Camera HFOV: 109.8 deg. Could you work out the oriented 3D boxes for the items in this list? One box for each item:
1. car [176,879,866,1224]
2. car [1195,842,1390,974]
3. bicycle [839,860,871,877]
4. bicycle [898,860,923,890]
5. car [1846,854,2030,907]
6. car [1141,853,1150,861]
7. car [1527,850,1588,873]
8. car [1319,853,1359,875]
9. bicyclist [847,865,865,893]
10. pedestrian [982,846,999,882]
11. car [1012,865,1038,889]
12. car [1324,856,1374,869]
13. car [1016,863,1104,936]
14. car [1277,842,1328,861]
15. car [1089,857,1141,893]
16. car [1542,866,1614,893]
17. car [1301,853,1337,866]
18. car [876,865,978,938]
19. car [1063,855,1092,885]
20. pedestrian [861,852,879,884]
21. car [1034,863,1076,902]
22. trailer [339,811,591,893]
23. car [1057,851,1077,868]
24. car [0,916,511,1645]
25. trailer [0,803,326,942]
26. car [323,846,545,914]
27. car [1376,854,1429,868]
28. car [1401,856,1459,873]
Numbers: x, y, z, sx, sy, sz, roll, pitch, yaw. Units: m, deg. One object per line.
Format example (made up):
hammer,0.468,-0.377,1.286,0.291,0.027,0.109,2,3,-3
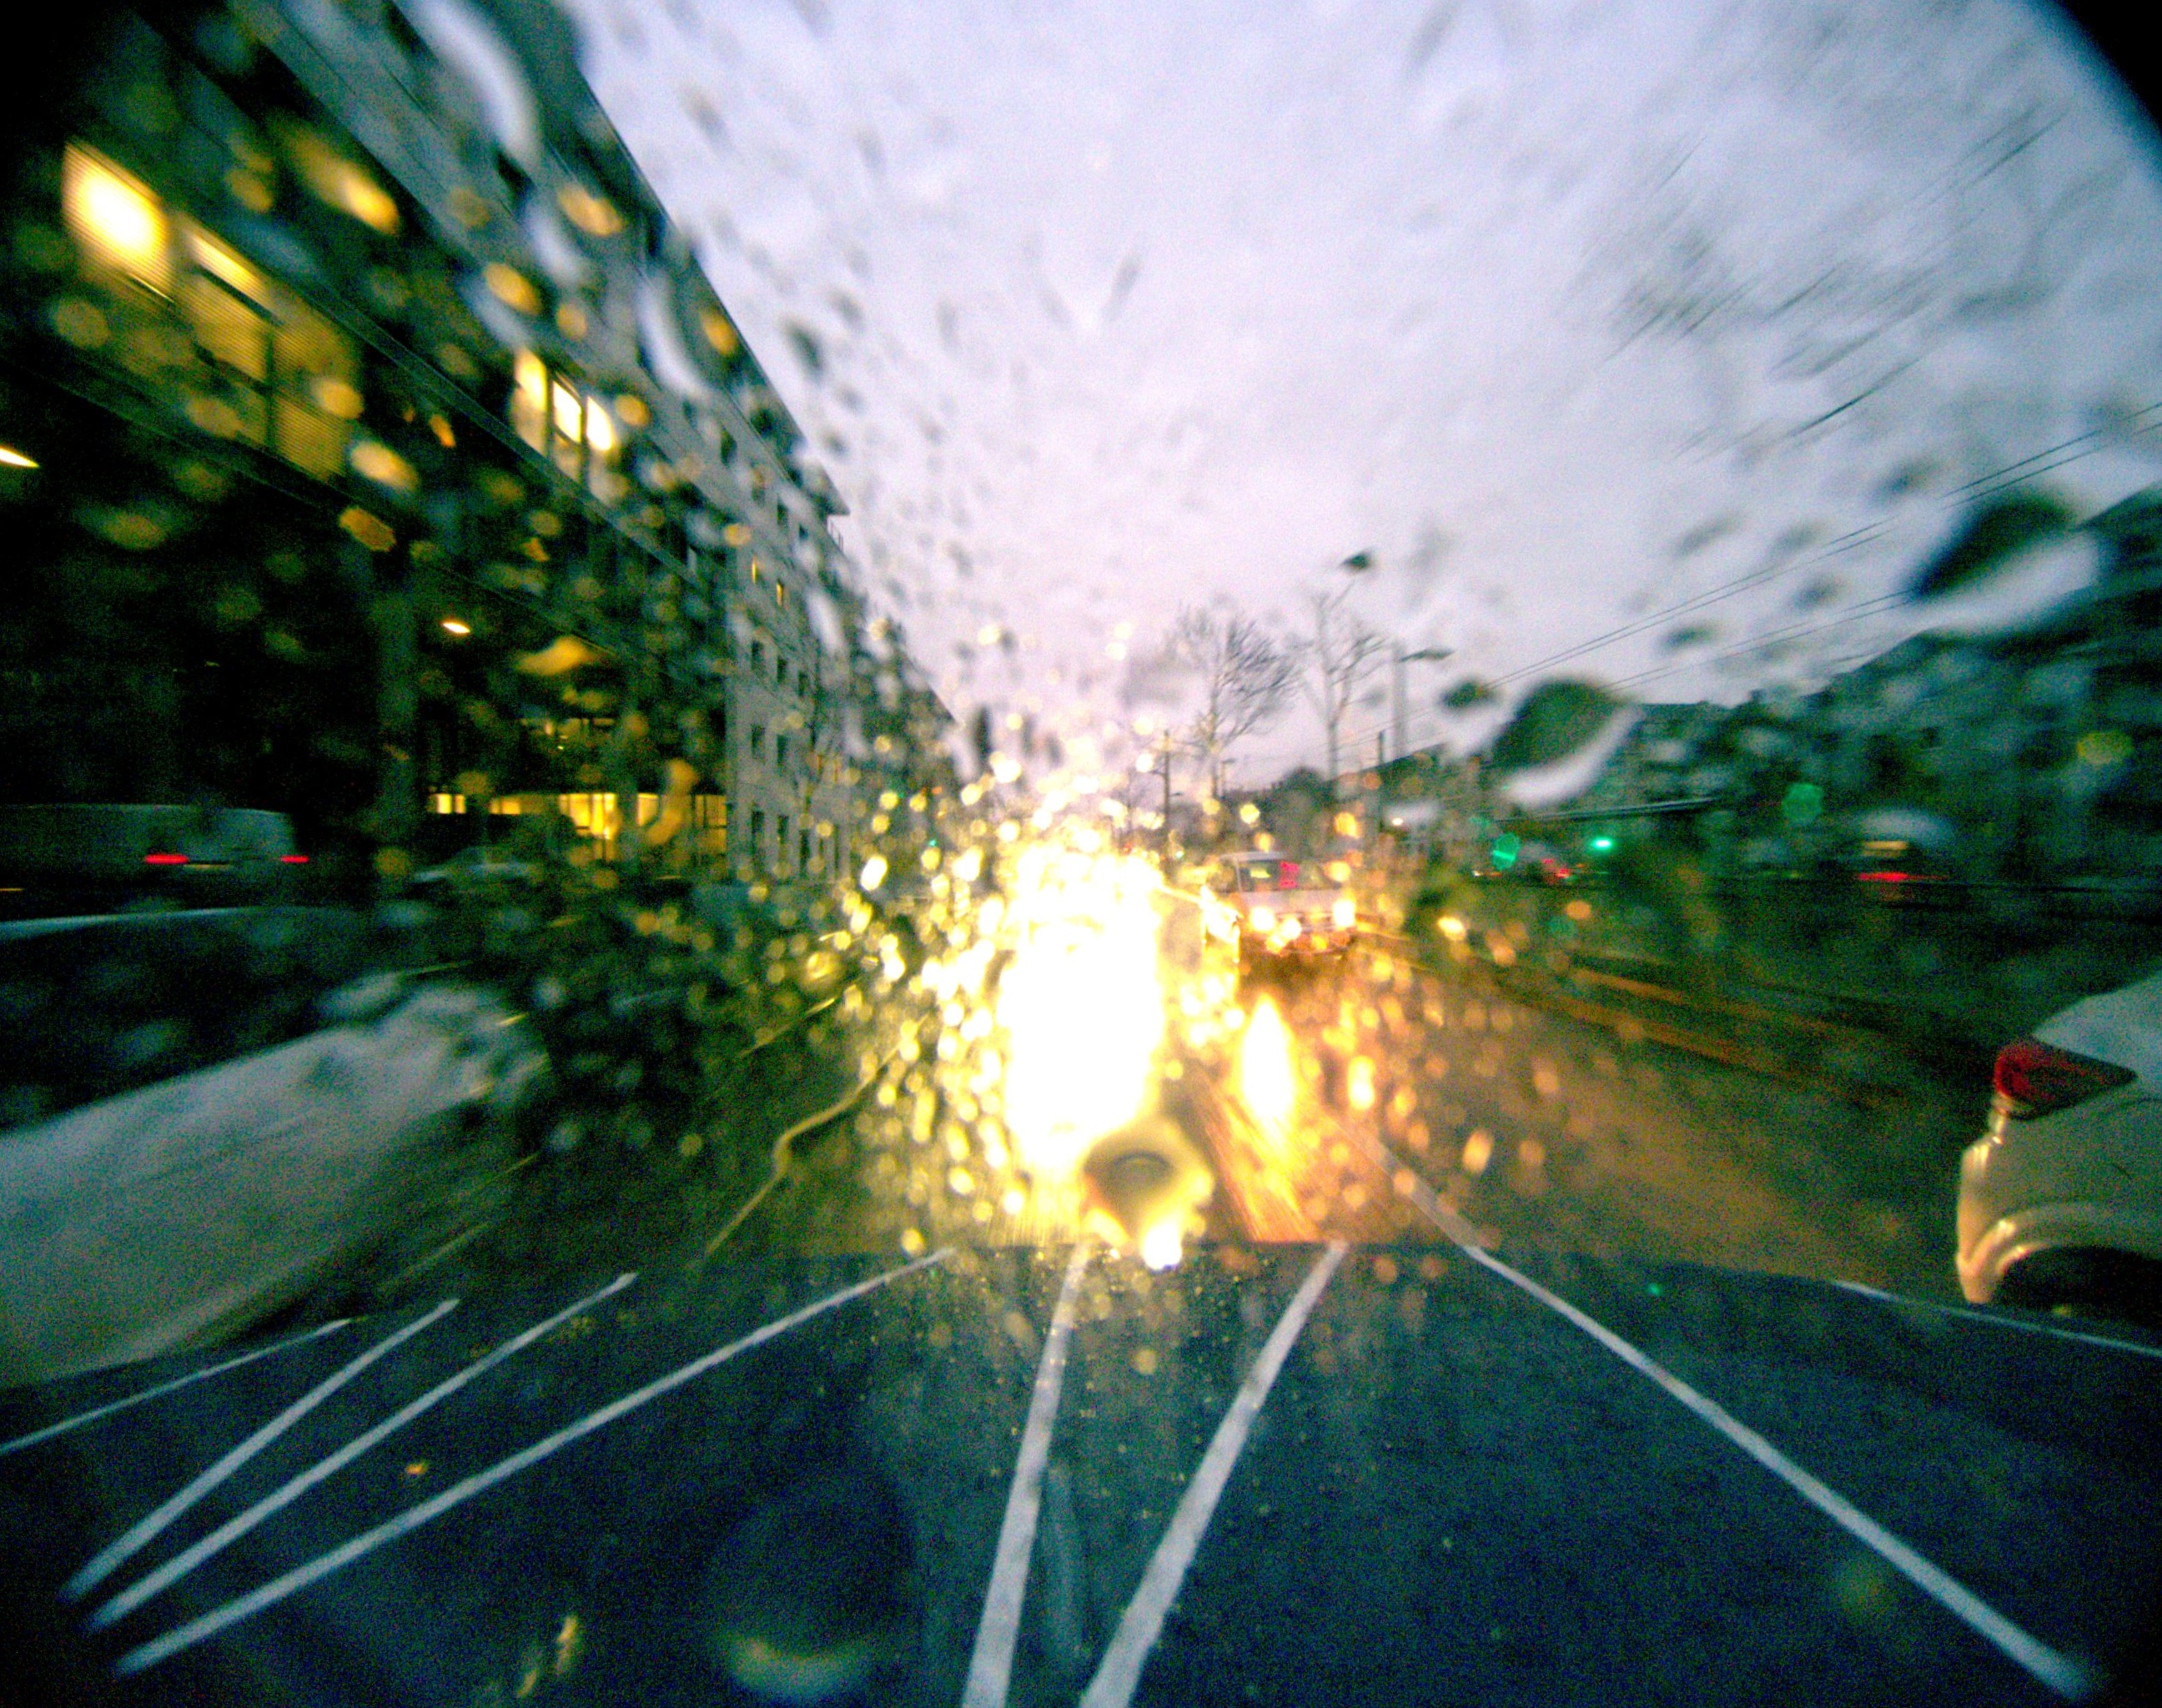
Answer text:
car,-3.125,0.963,5.536,1.758,1.394,4.250,-2,0,2
car,3.066,0.677,11.927,2.021,1.667,4.000,-2,1,2
bicycle,-14.614,0.943,49.172,1.864,1.084,0.856,-2,-2,22
bicycle,-6.752,0.825,30.221,0.552,1.109,2.165,1,1,-2
car,25.044,0.716,22.385,1.590,1.350,3.374,-2,1,-1
car,18.668,0.863,220.055,1.999,2.002,3.998,-2,1,-4
car,32.112,0.485,51.336,1.520,1.360,3.998,-2,1,-2
car,19.837,0.730,58.535,1.527,1.630,3.747,-1,1,-6
bicyclist,-14.564,1.621,49.120,0.730,1.811,0.842,-1,-2,21
pedestrian,-4.637,0.514,38.997,0.773,1.798,0.699,3,1,-5
car,-4.295,1.742,58.715,1.610,1.666,3.685,-2,1,1
car,25.898,0.817,73.482,4.393,1.125,1.250,0,2,32
car,-0.449,0.953,17.445,1.757,1.418,3.804,-2,0,-1
car,28.507,-0.313,97.815,5.893,2.242,1.825,-1,1,32
car,1.486,0.906,35.008,1.976,1.492,4.090,-2,0,-3
car,19.642,0.980,30.111,1.147,0.932,2.491,-1,1,-2
car,26.851,0.599,85.750,3.599,1.376,1.316,-1,-1,30
car,-3.479,1.019,17.905,1.600,1.432,4.228,3,-1,-2
car,-0.249,1.004,49.341,1.730,1.730,4.053,-2,1,-1
pedestrian,-11.738,0.754,42.294,0.739,1.726,0.702,-2,1,-4
car,-1.166,1.247,34.543,1.764,1.520,3.733,-2,1,-1
trailer,-20.110,-0.054,25.105,6.276,2.566,2.209,0,0,-6
car,-1.543,0.584,84.644,1.998,1.774,3.696,-2,1,1
car,-3.019,0.931,1.245,1.595,1.386,3.486,1,0,-2
trailer,-15.170,0.317,11.745,5.079,1.900,2.131,-1,-1,4
car,-15.037,0.523,18.050,1.636,1.363,4.528,1,1,-4
car,27.857,0.598,65.872,3.989,1.125,1.364,-1,1,34
car,27.527,0.863,59.973,3.989,1.248,1.446,-1,1,32
